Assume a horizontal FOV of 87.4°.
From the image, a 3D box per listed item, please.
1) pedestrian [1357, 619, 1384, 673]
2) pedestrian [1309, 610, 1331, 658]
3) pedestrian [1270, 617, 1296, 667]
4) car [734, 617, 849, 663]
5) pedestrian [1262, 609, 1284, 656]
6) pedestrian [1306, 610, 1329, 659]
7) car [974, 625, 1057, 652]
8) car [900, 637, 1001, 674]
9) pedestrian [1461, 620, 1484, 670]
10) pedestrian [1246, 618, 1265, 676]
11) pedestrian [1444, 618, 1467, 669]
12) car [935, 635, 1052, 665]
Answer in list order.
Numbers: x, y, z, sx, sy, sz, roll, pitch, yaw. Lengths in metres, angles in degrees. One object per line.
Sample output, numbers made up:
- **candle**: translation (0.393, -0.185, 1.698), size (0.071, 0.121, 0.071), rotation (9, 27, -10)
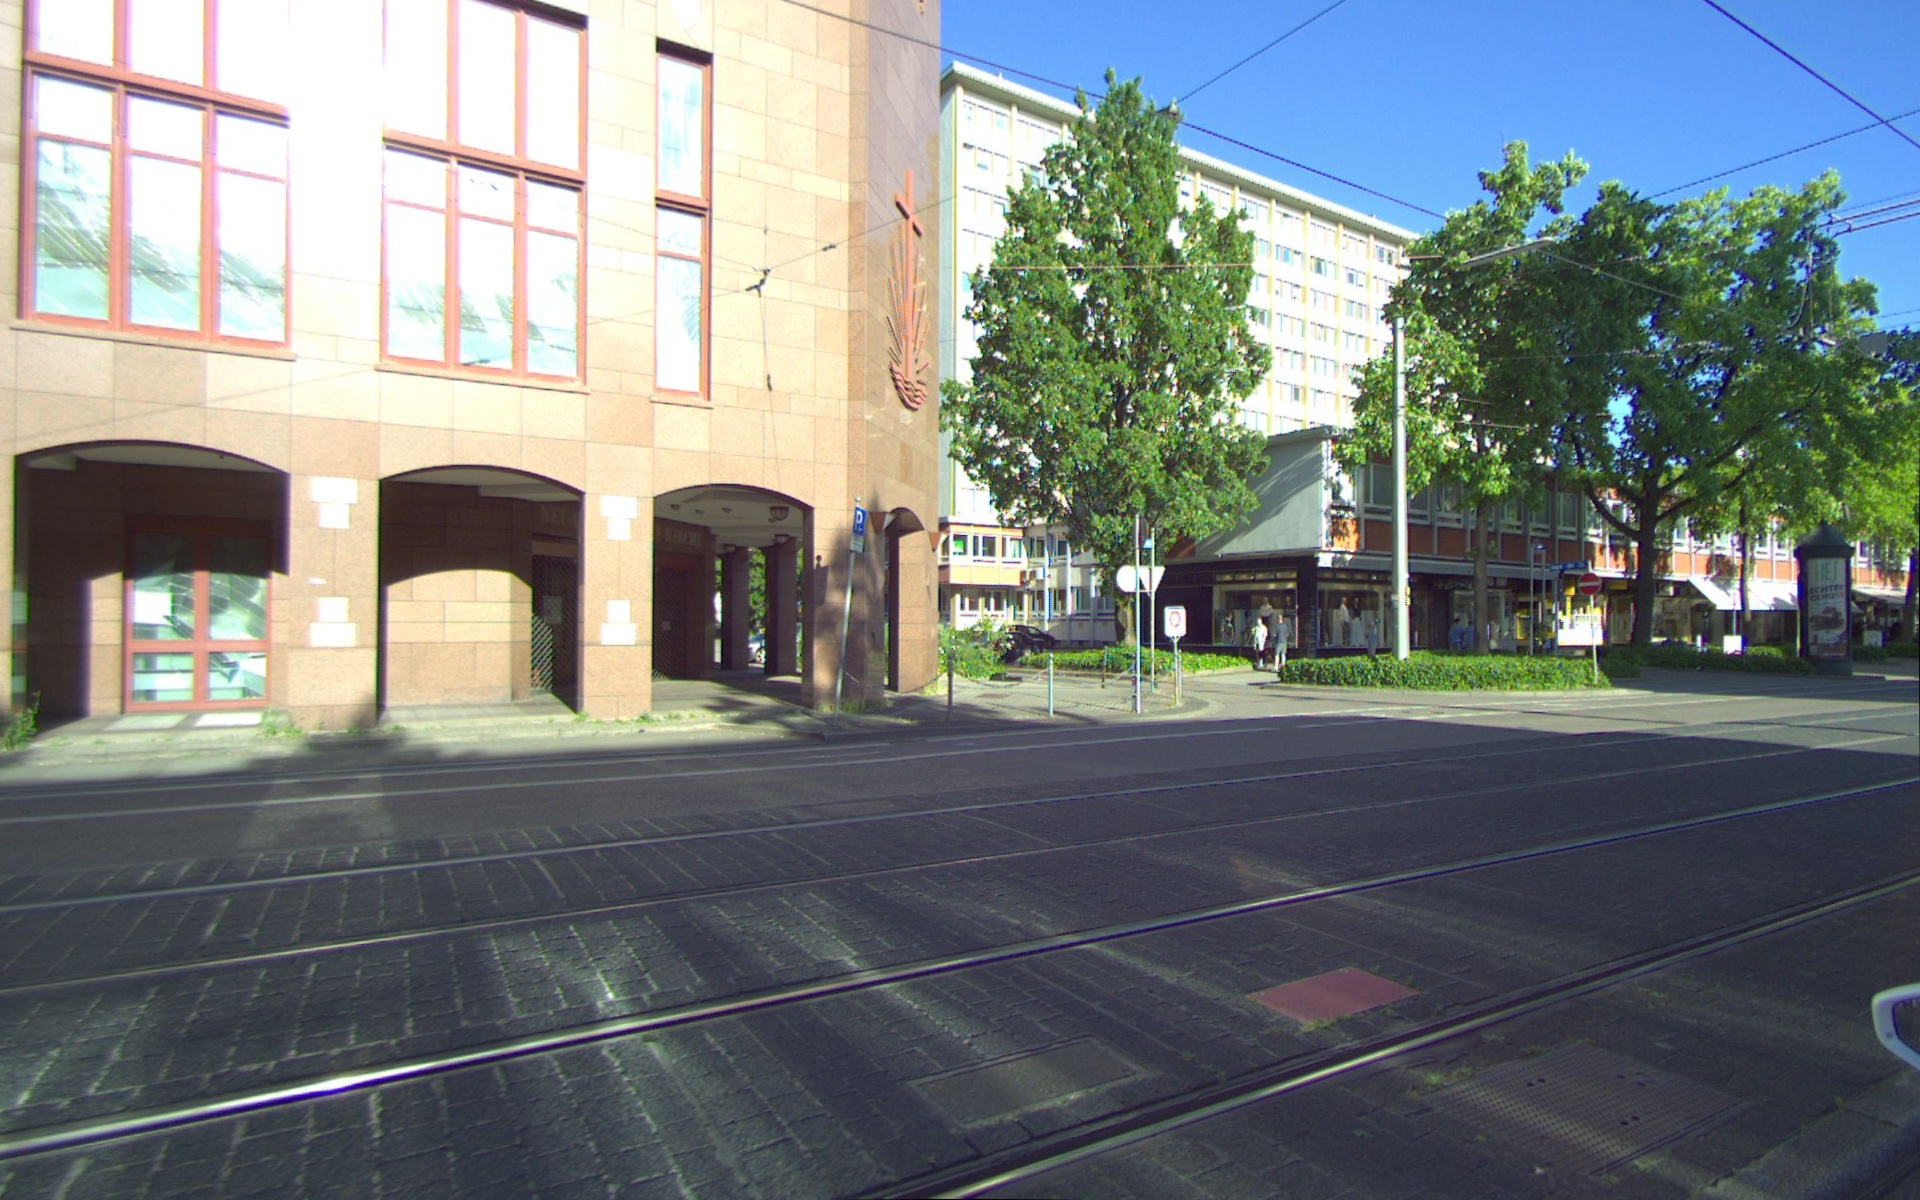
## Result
- **pedestrian**: translation (14.593, 1.613, 35.714), size (0.666, 1.871, 0.623), rotation (1, 1, -33)
- **pedestrian**: translation (13.809, 1.288, 38.538), size (0.586, 1.794, 0.534), rotation (1, 1, -30)
- **pedestrian**: translation (11.204, 1.467, 34.830), size (0.697, 1.716, 0.523), rotation (0, -2, -7)
- **car**: translation (-6.478, 1.561, 38.709), size (3.959, 1.600, 1.735), rotation (4, -3, -34)
- **pedestrian**: translation (12.162, 1.262, 39.062), size (0.532, 1.808, 0.588), rotation (1, 1, -30)
- **pedestrian**: translation (13.342, 1.293, 37.522), size (0.586, 1.808, 0.534), rotation (1, 1, -30)
- **car**: translation (3.558, 2.415, 63.531), size (5.155, 1.575, 1.979), rotation (1, 0, -36)
- **car**: translation (-0.397, 1.928, 35.692), size (1.976, 1.016, 3.969), rotation (-1, 1, -29)
- **pedestrian**: translation (19.323, 1.681, 37.847), size (0.583, 1.826, 0.541), rotation (0, 1, -39)
- **pedestrian**: translation (10.836, 1.720, 36.843), size (0.591, 2.094, 0.669), rotation (1, 1, 15)
- **pedestrian**: translation (18.858, 1.643, 38.258), size (0.533, 1.897, 0.586), rotation (0, 1, -39)
- **car**: translation (1.565, 2.264, 46.256), size (5.140, 1.231, 1.985), rotation (1, 0, -28)
